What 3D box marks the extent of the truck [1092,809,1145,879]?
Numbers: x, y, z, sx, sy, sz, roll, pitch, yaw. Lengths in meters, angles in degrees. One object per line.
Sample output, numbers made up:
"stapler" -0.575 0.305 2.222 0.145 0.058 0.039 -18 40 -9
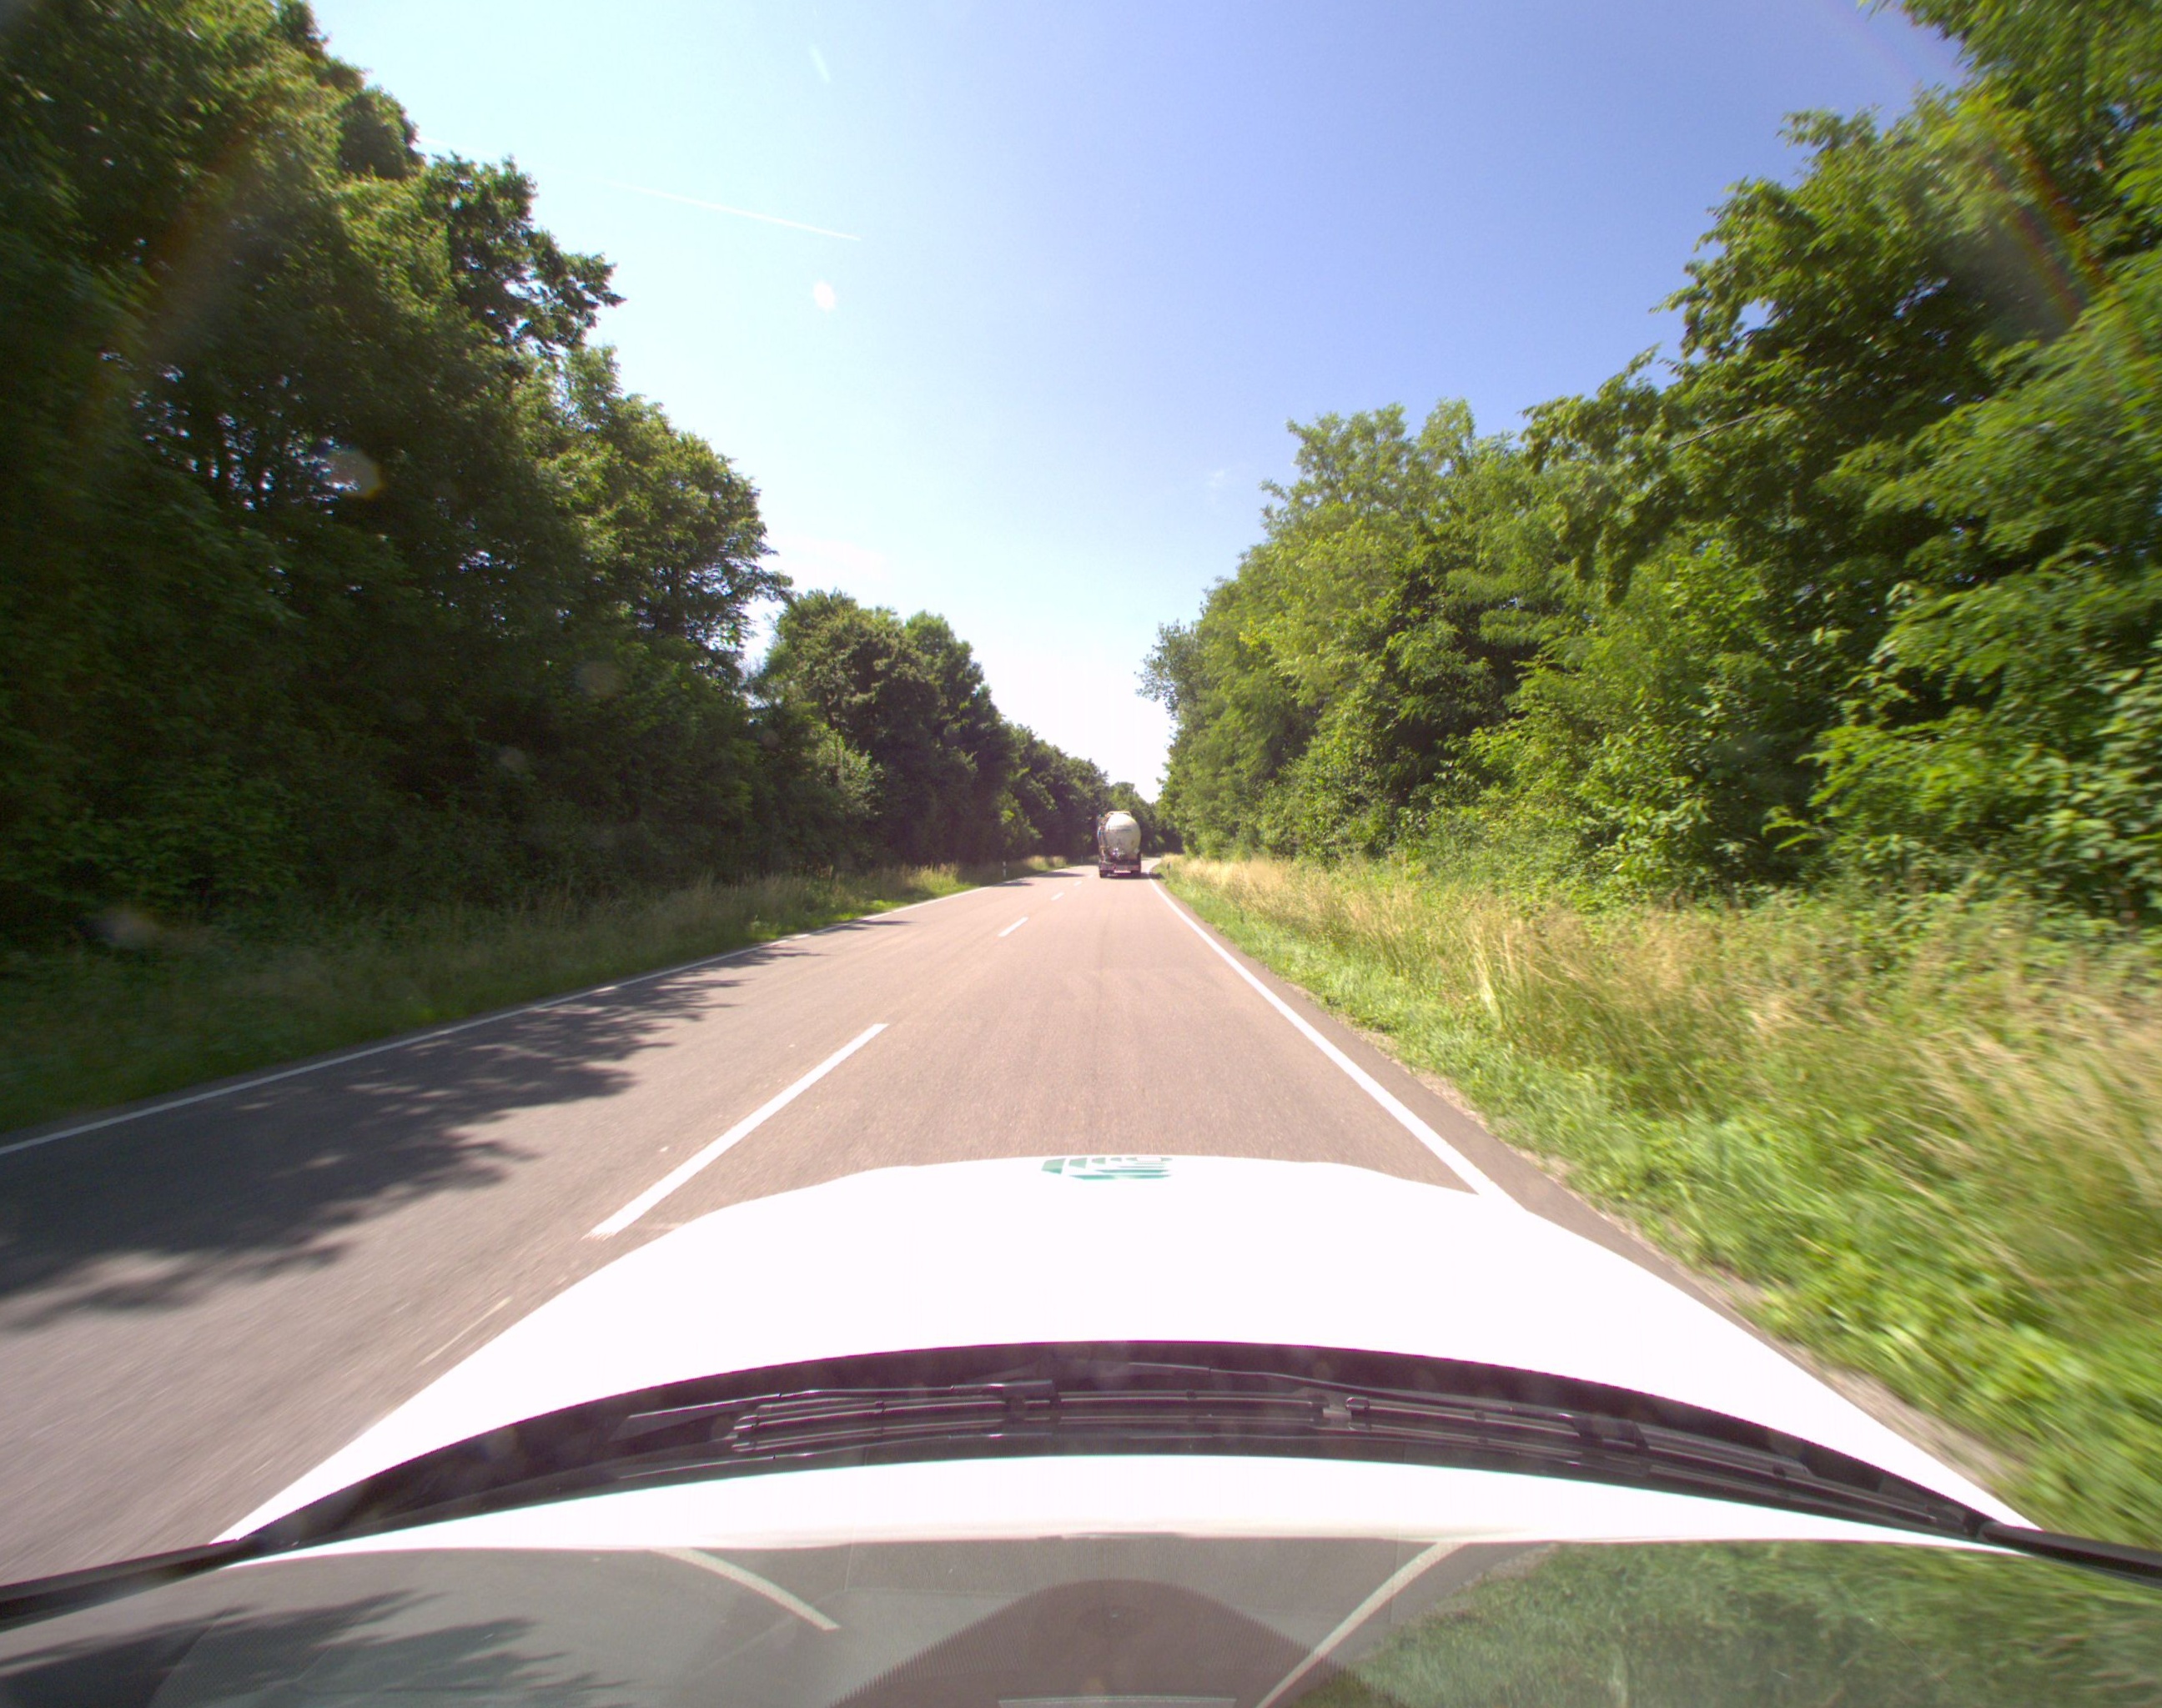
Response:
"truck" 2.539 -0.611 54.297 3.037 3.998 15.648 0 0 3
